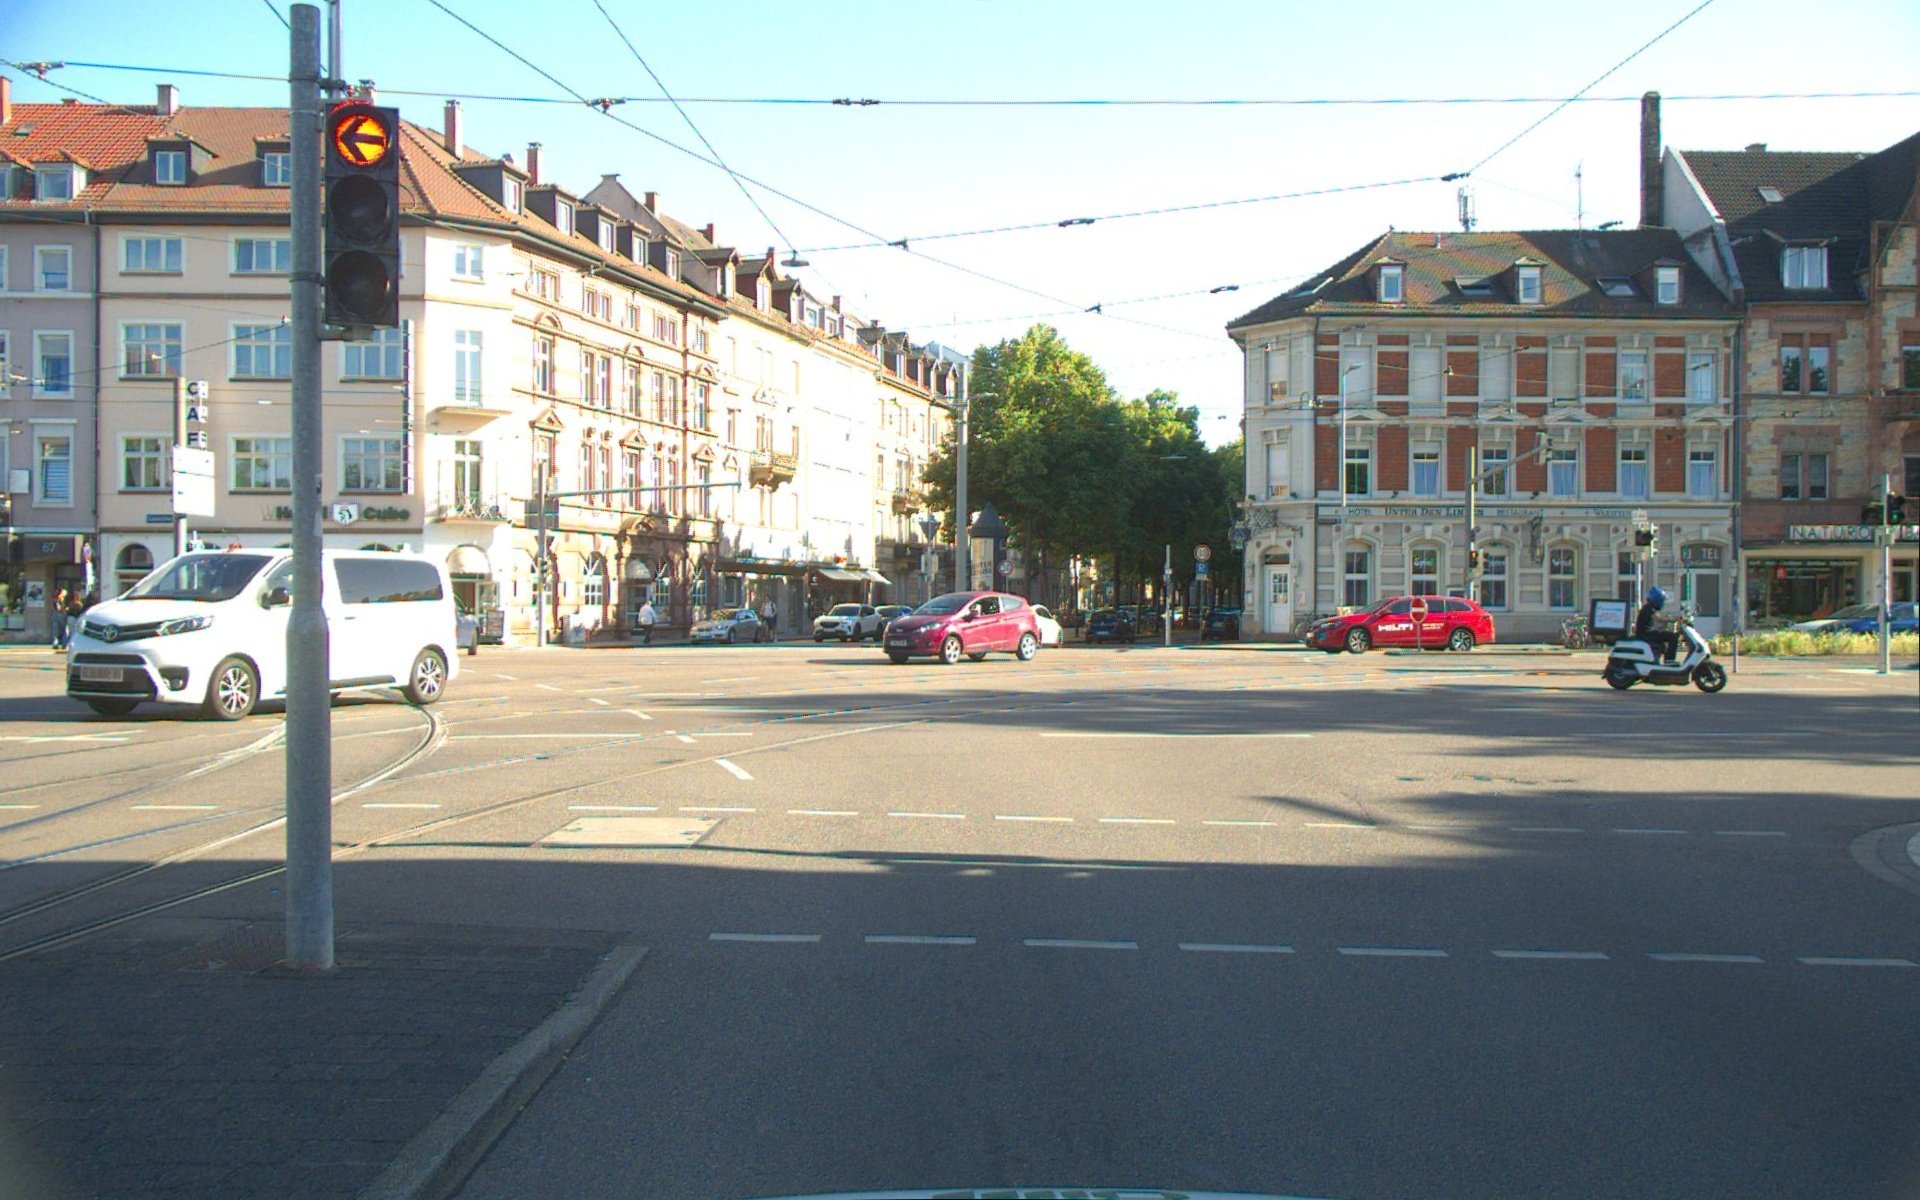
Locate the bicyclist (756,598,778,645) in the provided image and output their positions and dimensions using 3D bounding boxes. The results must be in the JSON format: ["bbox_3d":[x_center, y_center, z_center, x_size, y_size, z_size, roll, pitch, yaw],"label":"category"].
[{"bbox_3d":[-7.572,0.848,64.935,0.553,1.835,0.915,1,-1,14],"label":"bicyclist"}]

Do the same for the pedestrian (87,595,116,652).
[{"bbox_3d":[-23.315,0.637,44.929,0.481,1.518,0.556,1,-1,-1],"label":"pedestrian"}]

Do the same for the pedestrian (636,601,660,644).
[{"bbox_3d":[-12.323,0.875,65.259,0.556,1.671,0.792,1,-1,22],"label":"pedestrian"}]

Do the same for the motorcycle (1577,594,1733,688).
[{"bbox_3d":[10.629,0.607,25.317,2.097,1.357,0.795,1,-1,32],"label":"motorcycle"}]

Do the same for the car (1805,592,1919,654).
[{"bbox_3d":[25.914,0.633,45.997,3.905,1.650,1.804,1,0,0],"label":"car"}]

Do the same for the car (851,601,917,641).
[{"bbox_3d":[-3.360,0.928,73.514,1.786,1.715,3.877,1,0,16],"label":"car"}]

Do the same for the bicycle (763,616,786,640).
[{"bbox_3d":[-7.536,1.127,67.220,0.462,0.938,1.453,1,0,14],"label":"bicycle"}]

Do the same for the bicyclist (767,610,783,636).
[{"bbox_3d":[-7.534,0.943,67.232,0.462,1.058,0.538,1,-1,14],"label":"bicyclist"}]

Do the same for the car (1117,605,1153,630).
[{"bbox_3d":[12.349,1.227,116.776,1.951,1.713,4.003,1,0,15],"label":"car"}]

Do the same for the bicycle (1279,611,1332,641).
[{"bbox_3d":[11.976,0.903,57.293,1.764,0.979,0.604,1,0,14],"label":"bicycle"}]

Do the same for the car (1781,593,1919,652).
[{"bbox_3d":[26.661,0.659,48.854,3.905,1.650,1.804,1,0,0],"label":"car"}]

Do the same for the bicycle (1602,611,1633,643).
[{"bbox_3d":[21.337,0.882,53.710,0.749,1.001,2.211,1,0,17],"label":"bicycle"}]

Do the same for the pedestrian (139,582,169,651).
[{"bbox_3d":[-22.132,0.453,45.406,0.517,1.854,0.675,1,-1,-8],"label":"pedestrian"}]

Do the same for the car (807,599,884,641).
[{"bbox_3d":[-4.617,0.806,67.201,1.764,1.613,4.162,1,0,16],"label":"car"}]

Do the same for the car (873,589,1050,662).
[{"bbox_3d":[0.084,0.503,35.065,1.568,1.451,3.857,1,1,43],"label":"car"}]

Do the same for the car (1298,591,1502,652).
[{"bbox_3d":[11.309,0.556,42.632,4.766,1.495,1.801,0,1,-8],"label":"car"}]

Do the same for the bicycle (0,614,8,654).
[{"bbox_3d":[-25.806,0.892,43.315,0.608,1.048,1.755,1,0,4],"label":"bicycle"}]

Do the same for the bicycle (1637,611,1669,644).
[{"bbox_3d":[22.462,0.889,53.657,0.749,1.025,2.221,1,0,17],"label":"bicycle"}]

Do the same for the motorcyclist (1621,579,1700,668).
[{"bbox_3d":[10.704,0.357,25.273,0.996,1.323,0.787,1,-1,32],"label":"motorcyclist"}]

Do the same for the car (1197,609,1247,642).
[{"bbox_3d":[13.117,1.273,82.689,1.719,1.583,4.001,1,0,20],"label":"car"}]

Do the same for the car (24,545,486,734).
[{"bbox_3d":[-8.047,0.325,19.550,1.953,1.886,5.217,2,2,21],"label":"car"}]

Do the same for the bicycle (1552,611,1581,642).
[{"bbox_3d":[19.804,0.856,54.040,0.749,0.979,2.211,1,0,17],"label":"bicycle"}]

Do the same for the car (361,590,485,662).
[{"bbox_3d":[-12.107,0.550,37.524,1.749,1.530,3.916,0,0,-4],"label":"car"}]

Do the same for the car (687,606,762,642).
[{"bbox_3d":[-9.474,0.955,66.865,1.624,1.398,3.894,1,0,14],"label":"car"}]

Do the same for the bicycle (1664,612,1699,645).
[{"bbox_3d":[23.315,0.902,53.490,0.775,1.033,2.211,1,0,17],"label":"bicycle"}]

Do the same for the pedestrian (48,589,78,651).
[{"bbox_3d":[-24.391,0.542,44.989,0.512,1.677,0.497,1,-1,-1],"label":"pedestrian"}]

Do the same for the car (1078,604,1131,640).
[{"bbox_3d":[6.115,0.903,69.725,1.786,1.428,4.003,0,0,12],"label":"car"}]

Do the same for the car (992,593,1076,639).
[{"bbox_3d":[2.557,0.519,56.525,1.852,1.479,4.010,0,1,18],"label":"car"}]

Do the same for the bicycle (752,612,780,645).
[{"bbox_3d":[-7.586,1.116,64.857,0.553,1.276,1.558,1,0,14],"label":"bicycle"}]

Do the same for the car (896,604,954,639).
[{"bbox_3d":[-1.655,1.018,79.527,1.764,1.603,3.893,1,0,15],"label":"car"}]
